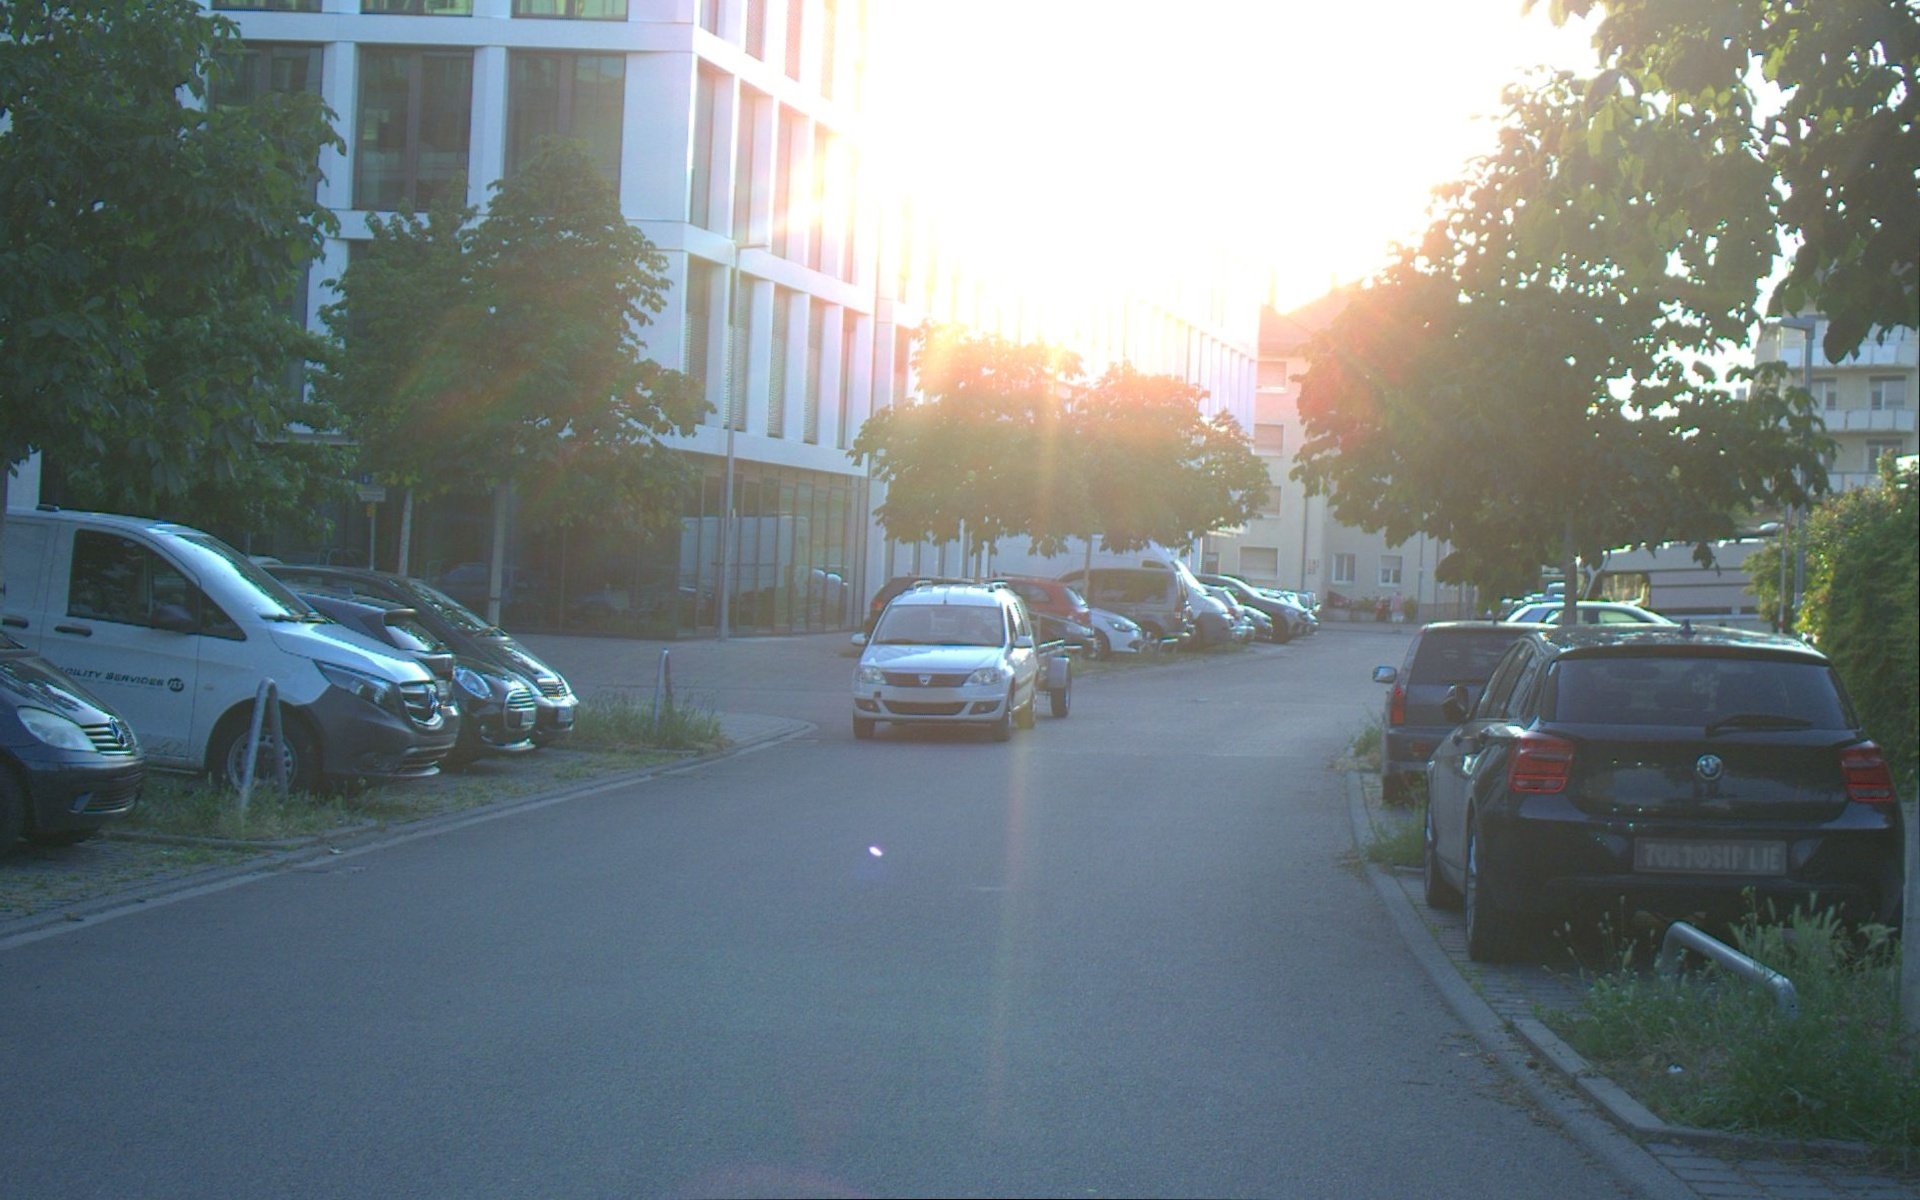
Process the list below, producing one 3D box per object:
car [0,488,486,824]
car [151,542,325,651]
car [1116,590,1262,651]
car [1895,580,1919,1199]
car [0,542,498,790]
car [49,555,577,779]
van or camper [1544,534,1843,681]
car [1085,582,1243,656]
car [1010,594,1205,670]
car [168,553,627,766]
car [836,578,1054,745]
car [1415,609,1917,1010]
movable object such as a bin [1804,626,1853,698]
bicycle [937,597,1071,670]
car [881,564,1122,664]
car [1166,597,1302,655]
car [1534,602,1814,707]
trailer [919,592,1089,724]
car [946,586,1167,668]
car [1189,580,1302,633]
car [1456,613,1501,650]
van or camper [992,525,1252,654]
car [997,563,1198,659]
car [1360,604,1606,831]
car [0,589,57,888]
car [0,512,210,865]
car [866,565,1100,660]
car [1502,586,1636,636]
[{"bbox_3d":[-5.971,0.266,23.214,5.077,1.940,1.888,5,0,4],"label":"car"},{"bbox_3d":[-11.347,-0.085,54.217,1.722,1.481,3.551,2,3,4],"label":"car"},{"bbox_3d":[5.913,0.525,88.635,3.561,1.474,1.457,1,1,12],"label":"car"},{"bbox_3d":[2.759,0.739,5.648,1.577,1.504,3.496,2,0,2],"label":"car"},{"bbox_3d":[-5.671,0.466,25.984,3.987,1.517,1.605,5,0,3],"label":"car"},{"bbox_3d":[-5.296,0.529,28.388,3.887,1.483,1.651,5,1,5],"label":"car"},{"bbox_3d":[14.558,0.117,68.574,5.611,2.780,2.429,1,1,8],"label":"van or camper"},{"bbox_3d":[4.844,0.431,81.589,3.561,1.646,1.457,1,1,12],"label":"car"},{"bbox_3d":[3.219,0.683,74.560,4.051,1.519,1.735,1,1,8],"label":"car"},{"bbox_3d":[-5.027,0.513,30.928,3.636,1.571,1.660,5,1,10],"label":"car"},{"bbox_3d":[-0.094,0.624,38.043,1.953,1.680,4.721,1,1,5],"label":"car"},{"bbox_3d":[3.059,0.828,15.664,1.693,1.504,4.192,2,0,4],"label":"car"},{"bbox_3d":[12.843,0.913,50.868,0.578,1.007,0.688,2,1,6],"label":"movable object such as a bin"},{"bbox_3d":[0.775,0.572,59.757,2.180,1.170,0.811,2,0,11],"label":"bicycle"},{"bbox_3d":[0.763,0.237,61.880,4.051,1.474,1.767,4,2,9],"label":"car"},{"bbox_3d":[7.560,0.704,94.779,3.561,1.474,1.457,1,1,12],"label":"car"},{"bbox_3d":[10.915,0.819,52.779,4.051,1.474,1.767,1,1,7],"label":"car"},{"bbox_3d":[0.587,0.685,42.714,1.706,1.344,3.487,4,2,6],"label":"trailer"},{"bbox_3d":[1.903,0.515,67.082,4.052,1.474,1.767,1,1,12],"label":"car"},{"bbox_3d":[8.074,0.184,97.155,3.016,1.416,1.457,1,1,12],"label":"car"},{"bbox_3d":[24.063,1.453,159.480,1.951,1.579,3.639,2,0,10],"label":"car"},{"bbox_3d":[3.632,-0.253,76.892,5.455,2.475,1.774,4,2,12],"label":"van or camper"},{"bbox_3d":[2.896,0.215,72.025,4.051,1.901,1.735,1,1,8],"label":"car"},{"bbox_3d":[4.204,0.865,27.610,1.725,1.574,4.596,3,0,9],"label":"car"},{"bbox_3d":[-6.566,0.491,15.997,4.144,1.399,1.724,5,0,3],"label":"car"},{"bbox_3d":[-6.396,0.297,18.348,4.247,1.736,1.724,5,0,3],"label":"car"},{"bbox_3d":[0.452,0.226,64.781,4.052,1.474,1.767,4,1,12],"label":"car"},{"bbox_3d":[19.263,0.333,108.834,4.051,1.474,1.767,1,1,7],"label":"car"}]
